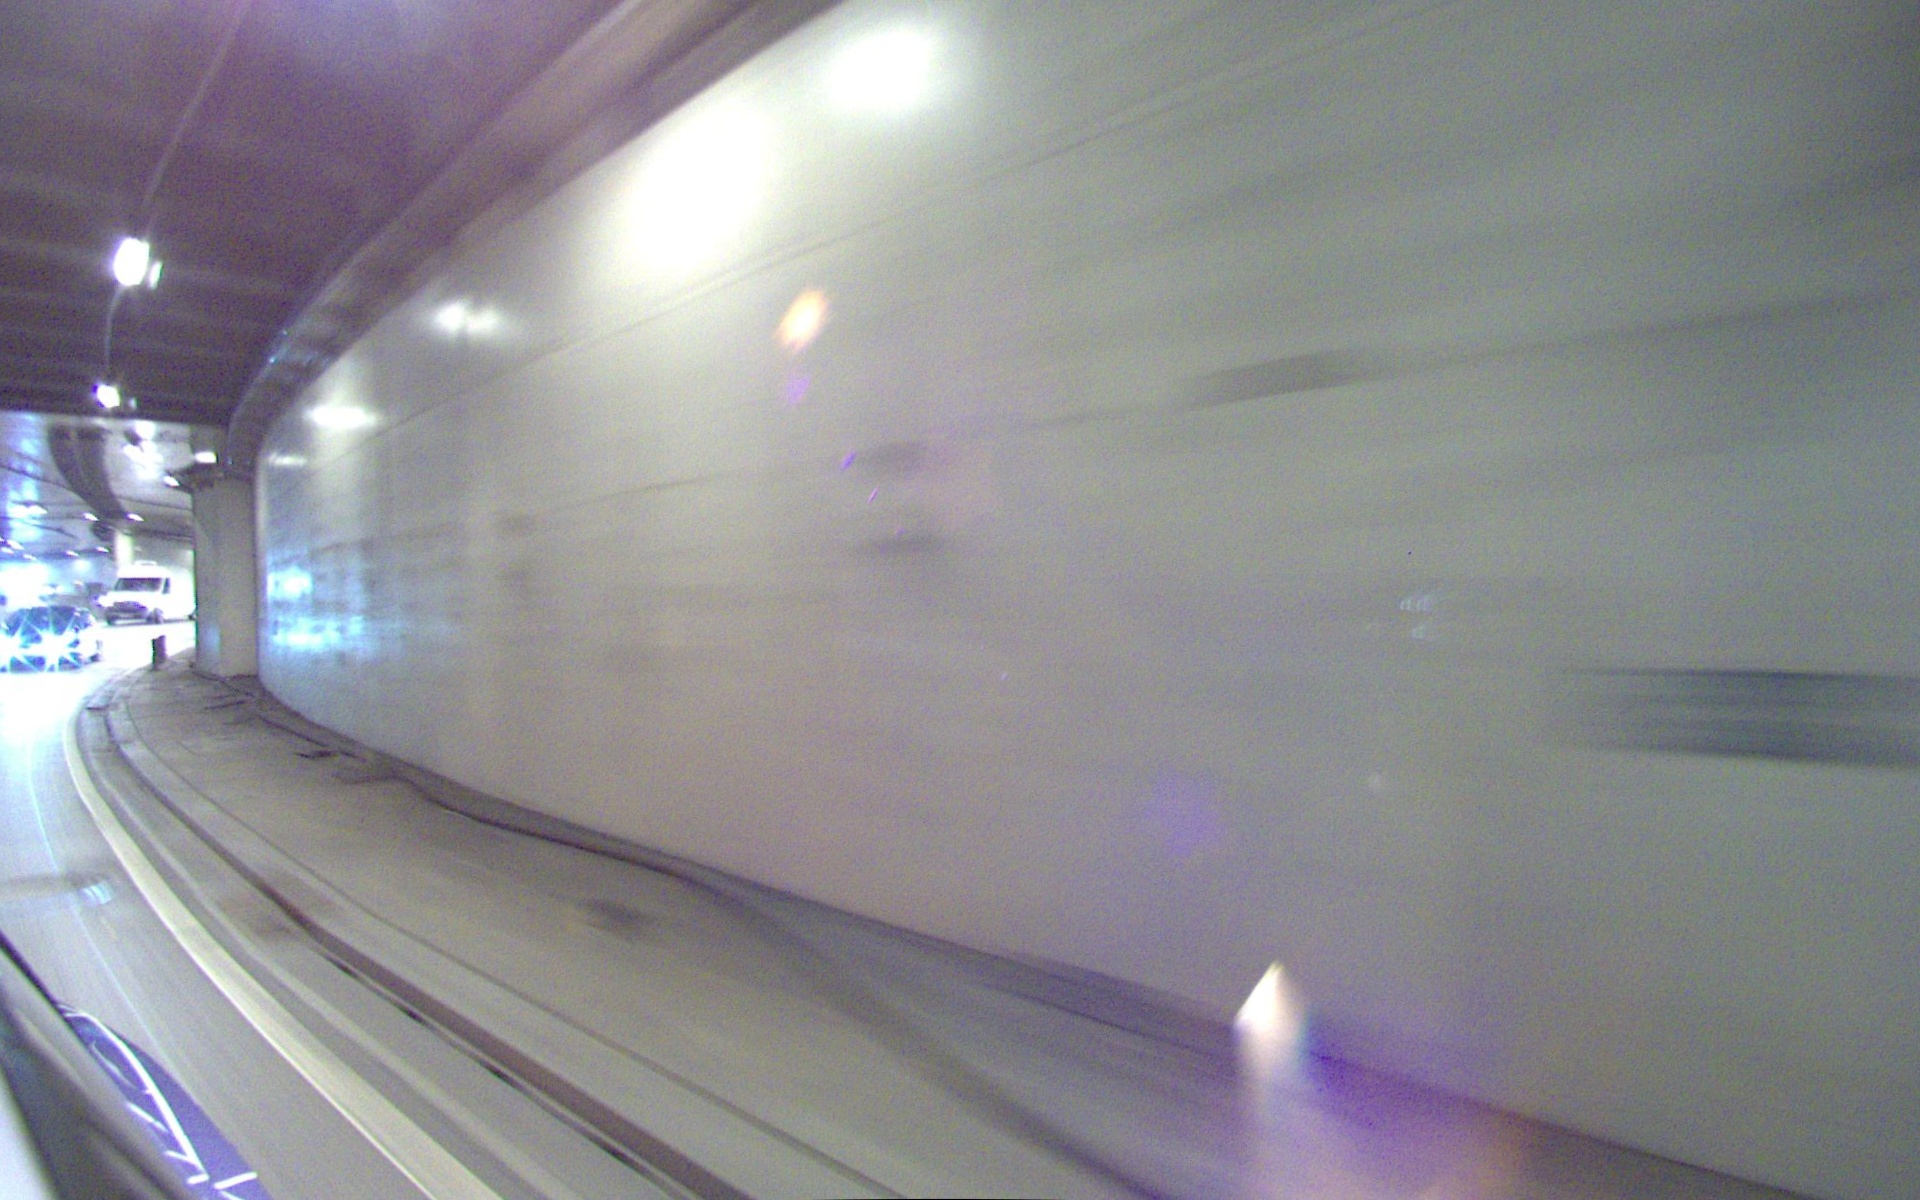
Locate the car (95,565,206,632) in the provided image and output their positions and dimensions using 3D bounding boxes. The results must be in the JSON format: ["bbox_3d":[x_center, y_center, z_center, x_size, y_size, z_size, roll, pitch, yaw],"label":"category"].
[{"bbox_3d":[-37.220,-0.134,46.756,2.072,2.868,6.884,0,1,-22],"label":"car"}]

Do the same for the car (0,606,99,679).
[{"bbox_3d":[-22.641,0.986,25.051,1.613,1.572,3.726,0,1,-34],"label":"car"}]
